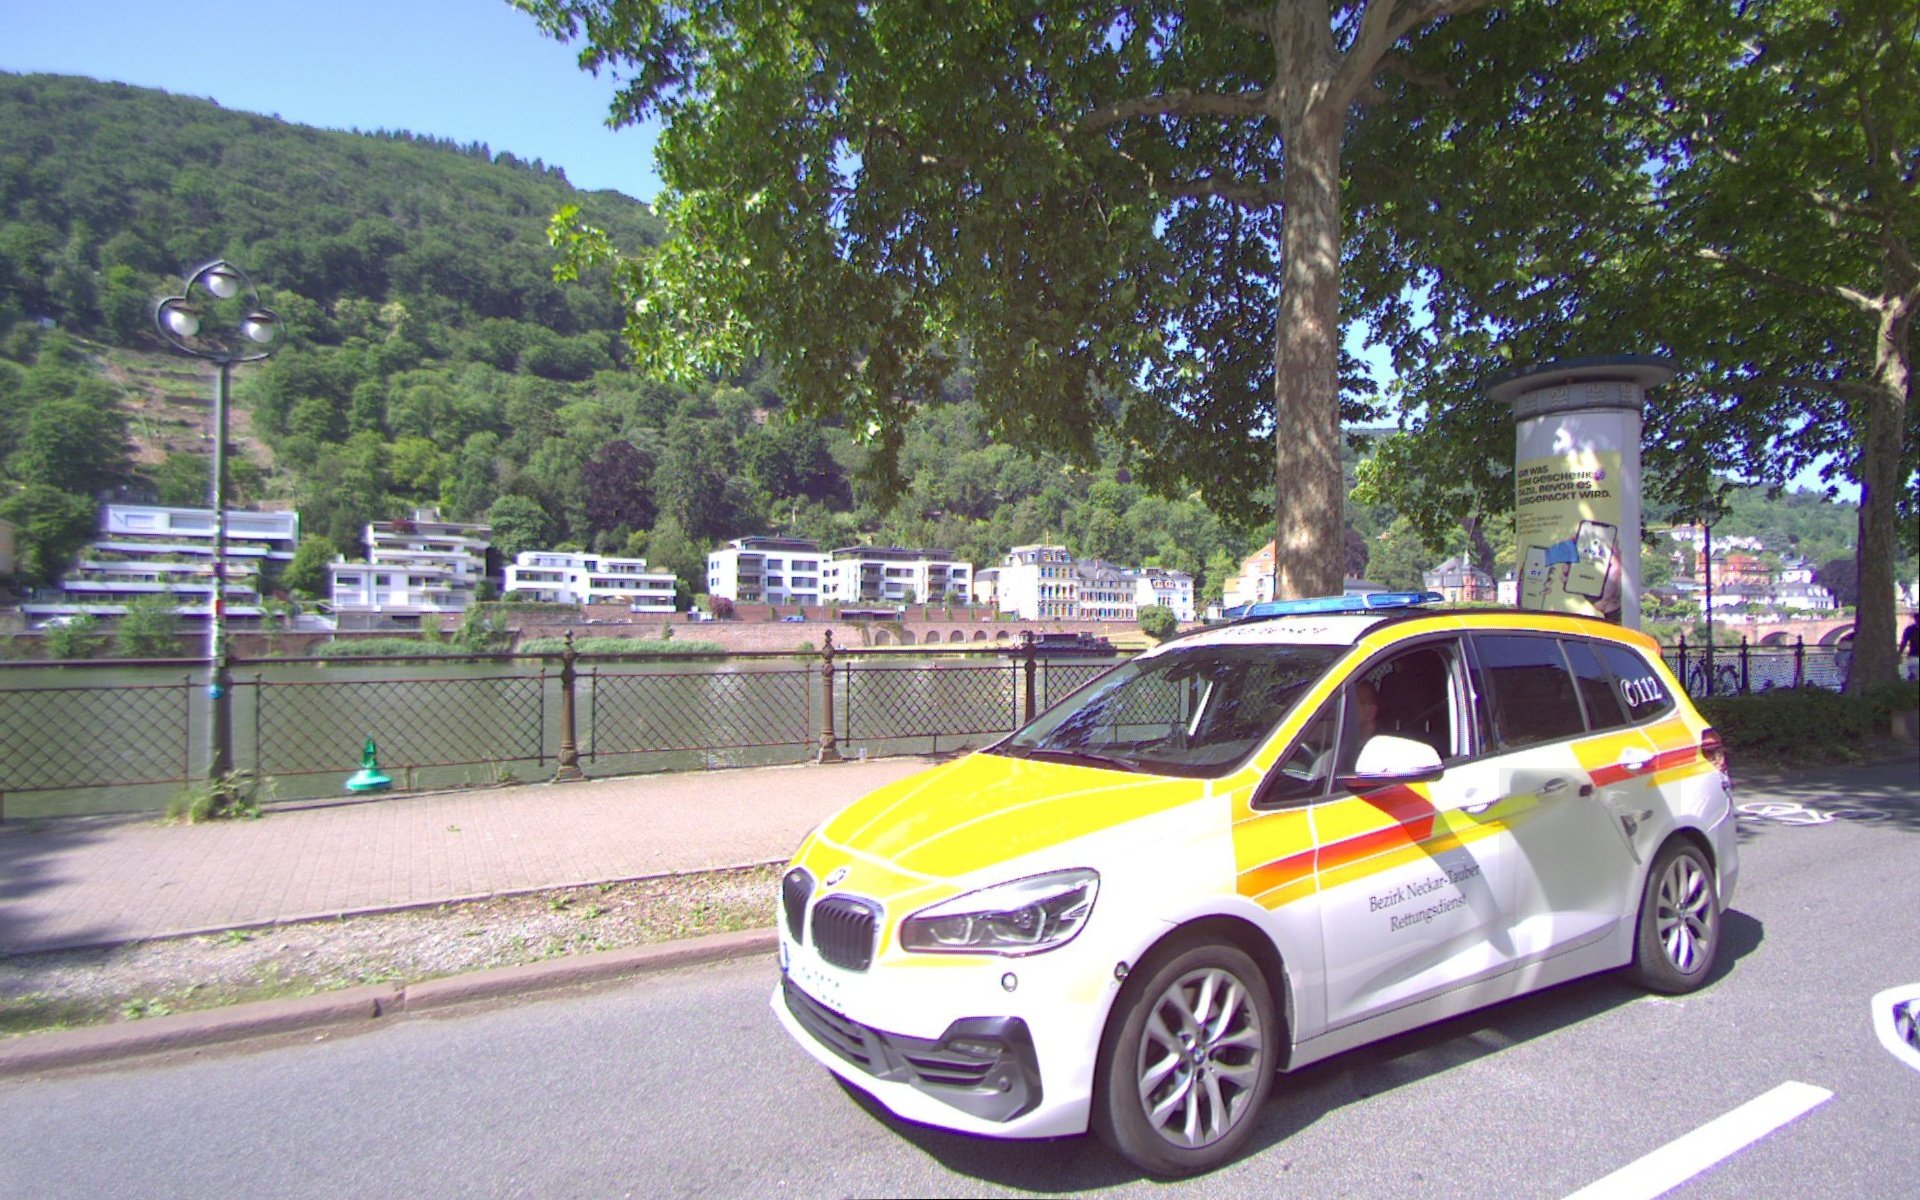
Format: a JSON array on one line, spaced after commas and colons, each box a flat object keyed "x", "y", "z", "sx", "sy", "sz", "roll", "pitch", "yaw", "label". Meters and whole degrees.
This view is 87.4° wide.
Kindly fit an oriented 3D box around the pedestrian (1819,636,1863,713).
[{"x": 16.071, "y": 1.347, "z": 18.330, "sx": 0.411, "sy": 1.380, "sz": 0.477, "roll": 1, "pitch": -1, "yaw": -26, "label": "pedestrian"}]

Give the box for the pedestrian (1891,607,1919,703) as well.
[{"x": 19.319, "y": 1.110, "z": 20.390, "sx": 0.431, "sy": 1.912, "sz": 0.532, "roll": 1, "pitch": -1, "yaw": -30, "label": "pedestrian"}]

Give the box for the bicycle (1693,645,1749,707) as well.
[{"x": 14.372, "y": 1.423, "z": 18.966, "sx": 1.281, "sy": 1.106, "sz": 0.357, "roll": 1, "pitch": 2, "yaw": -31, "label": "bicycle"}]

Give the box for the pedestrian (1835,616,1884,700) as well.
[{"x": 18.731, "y": 1.197, "z": 20.928, "sx": 0.577, "sy": 1.708, "sz": 0.598, "roll": 1, "pitch": -2, "yaw": -31, "label": "pedestrian"}]

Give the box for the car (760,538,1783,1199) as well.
[{"x": 1.449, "y": 0.782, "z": 4.171, "sx": 4.174, "sy": 1.681, "sz": 1.666, "roll": 1, "pitch": -4, "yaw": -31, "label": "car"}]

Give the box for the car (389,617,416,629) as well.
[{"x": -94.657, "y": 3.880, "z": 170.545, "sx": 3.953, "sy": 2.040, "sz": 1.984, "roll": 1, "pitch": 0, "yaw": -30, "label": "car"}]
